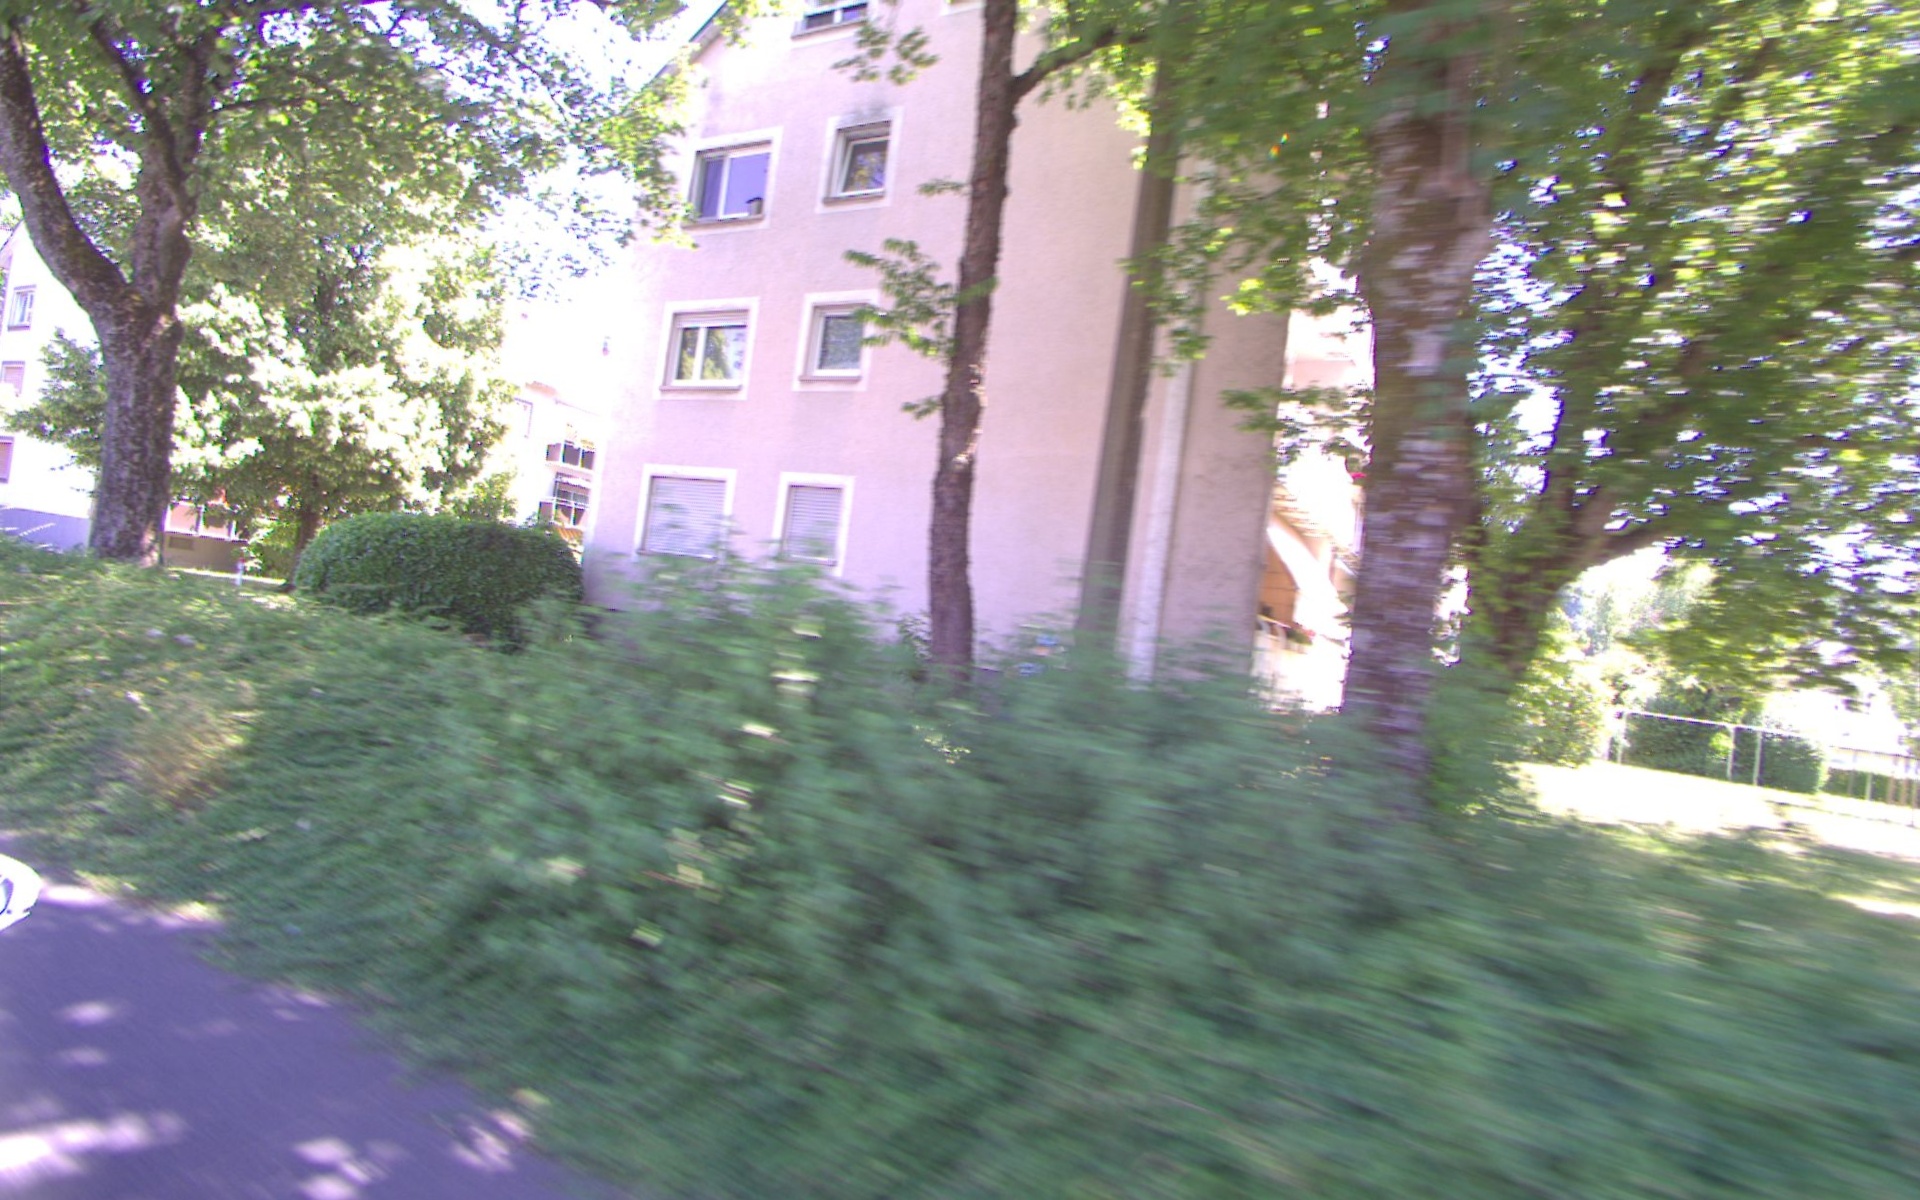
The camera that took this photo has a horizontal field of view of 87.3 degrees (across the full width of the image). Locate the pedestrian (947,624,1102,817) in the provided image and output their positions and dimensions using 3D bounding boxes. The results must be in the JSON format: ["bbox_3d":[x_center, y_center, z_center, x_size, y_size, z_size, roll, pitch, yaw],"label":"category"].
[{"bbox_3d":[0.519,0.929,7.984,0.874,1.350,0.663,6,-1,32],"label":"pedestrian"}]
